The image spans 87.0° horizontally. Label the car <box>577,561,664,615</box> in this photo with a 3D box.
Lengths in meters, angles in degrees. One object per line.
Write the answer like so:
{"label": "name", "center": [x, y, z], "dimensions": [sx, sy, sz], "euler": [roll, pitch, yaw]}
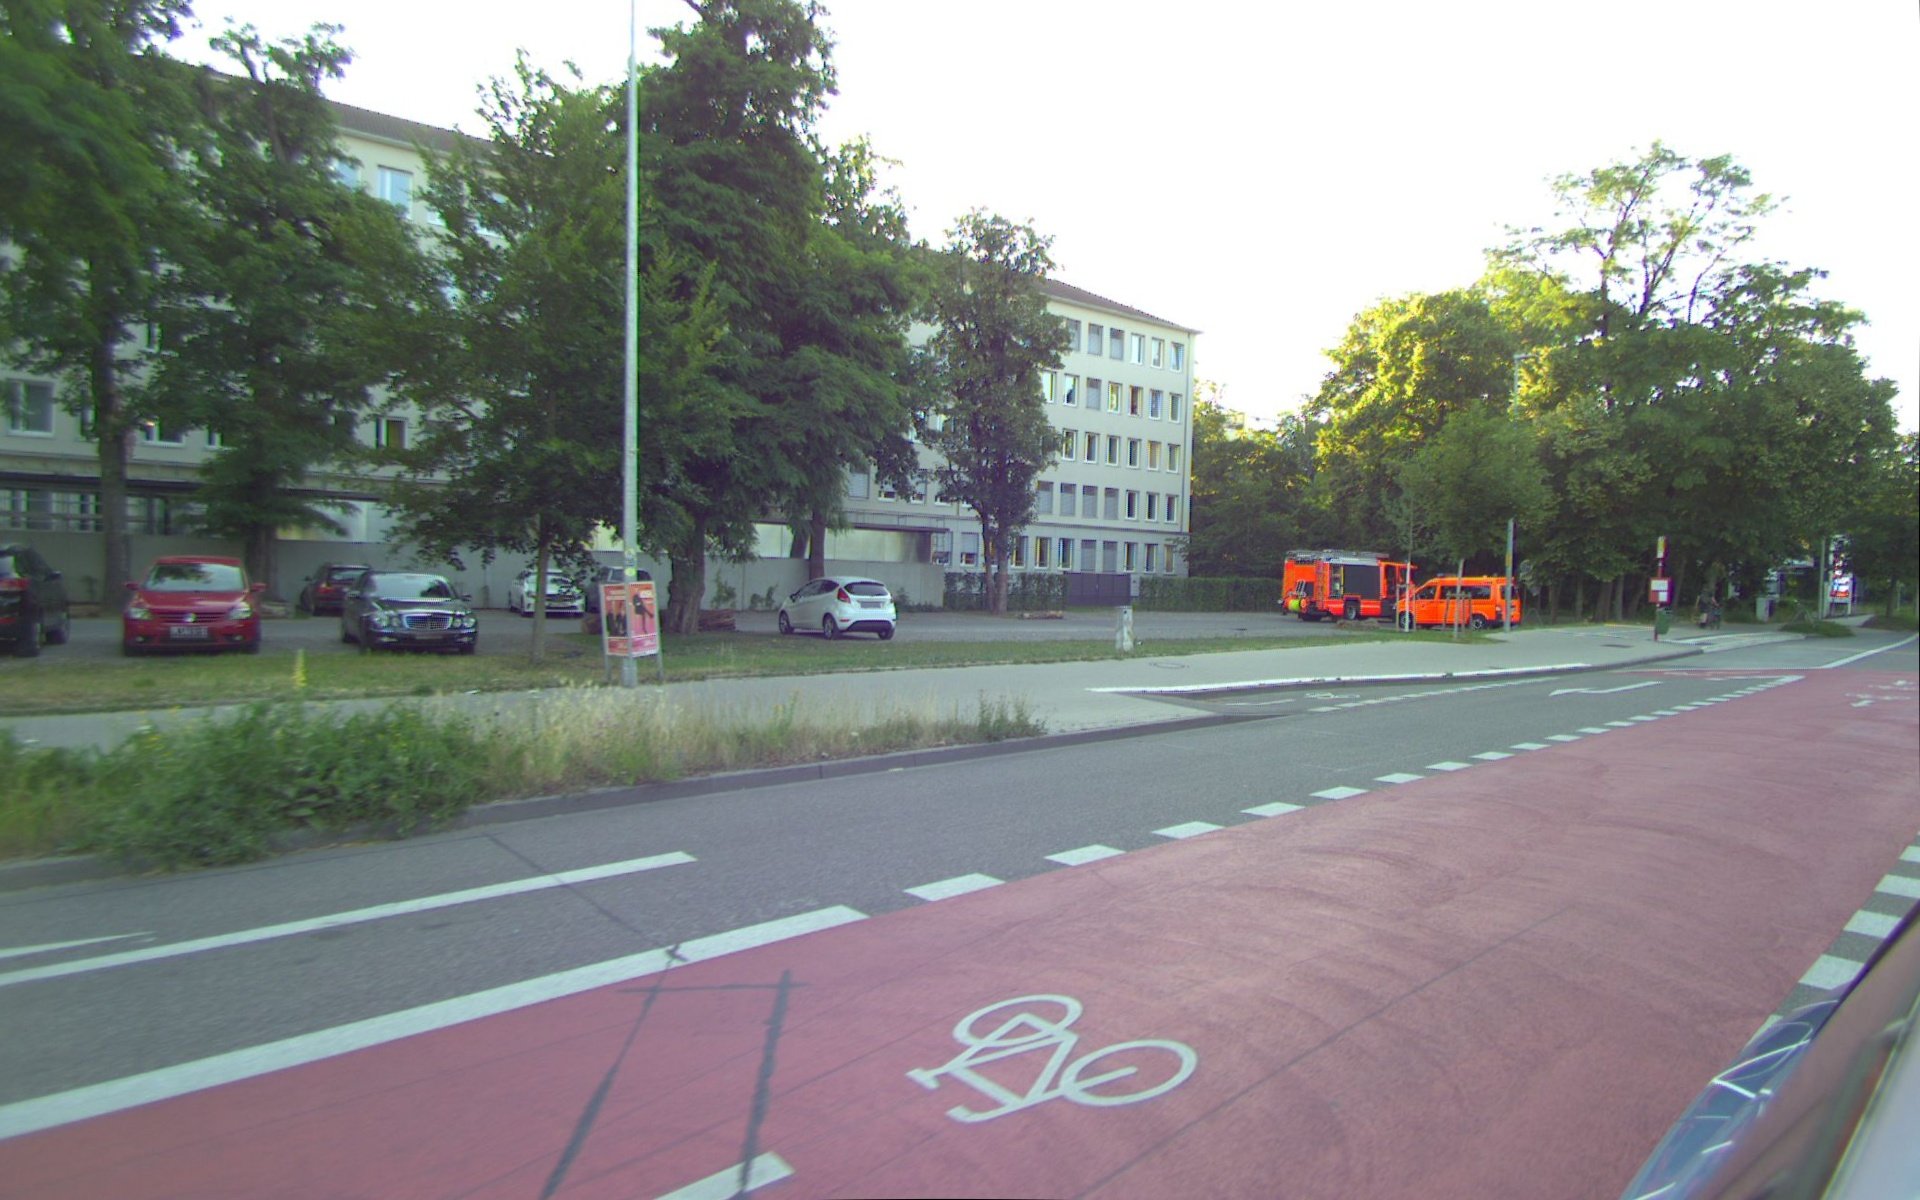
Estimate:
{"label": "car", "center": [-11.114, -0.408, 32.992], "dimensions": [1.875, 1.637, 4.003], "euler": [-1, 1, -31]}

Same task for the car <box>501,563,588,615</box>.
{"label": "car", "center": [-12.910, -0.354, 31.303], "dimensions": [1.797, 1.494, 4.002], "euler": [0, 1, -33]}

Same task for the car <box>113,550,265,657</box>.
{"label": "car", "center": [-12.901, -0.022, 17.151], "dimensions": [1.751, 1.580, 4.003], "euler": [1, 2, -33]}

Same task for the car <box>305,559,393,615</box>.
{"label": "car", "center": [-17.241, -0.377, 28.464], "dimensions": [1.866, 1.460, 4.001], "euler": [0, 1, -35]}

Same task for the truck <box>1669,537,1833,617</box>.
{"label": "truck", "center": [61.876, -1.829, 79.998], "dimensions": [5.091, 5.643, 15.001], "euler": [2, 2, 18]}

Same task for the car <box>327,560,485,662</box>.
{"label": "car", "center": [-10.261, 0.082, 18.573], "dimensions": [1.866, 1.466, 4.584], "euler": [-2, 5, -37]}

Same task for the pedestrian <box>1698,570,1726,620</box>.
{"label": "pedestrian", "center": [31.372, -0.227, 42.214], "dimensions": [0.683, 2.038, 0.724], "euler": [0, 2, -43]}

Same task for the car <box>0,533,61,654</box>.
{"label": "car", "center": [-15.226, -0.133, 15.475], "dimensions": [1.802, 1.715, 3.910], "euler": [0, 1, -36]}

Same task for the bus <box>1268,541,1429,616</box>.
{"label": "bus", "center": [18.147, -0.969, 47.075], "dimensions": [7.810, 3.236, 2.999], "euler": [0, 1, -34]}

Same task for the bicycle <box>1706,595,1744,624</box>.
{"label": "bicycle", "center": [31.661, 0.376, 41.875], "dimensions": [1.935, 1.111, 0.832], "euler": [1, 3, -42]}

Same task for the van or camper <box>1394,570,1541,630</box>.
{"label": "van or camper", "center": [20.388, -0.050, 40.831], "dimensions": [2.250, 2.273, 4.831], "euler": [0, 1, -34]}

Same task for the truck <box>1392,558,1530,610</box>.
{"label": "truck", "center": [34.040, -1.189, 69.250], "dimensions": [2.703, 3.251, 8.683], "euler": [1, 2, -24]}

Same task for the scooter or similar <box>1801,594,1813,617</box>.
{"label": "scooter or similar", "center": [50.798, 0.317, 60.685], "dimensions": [0.482, 1.297, 1.213], "euler": [4, 3, 41]}

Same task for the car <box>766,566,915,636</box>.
{"label": "car", "center": [-2.977, -0.014, 24.594], "dimensions": [1.876, 1.556, 3.999], "euler": [0, 1, -36]}
